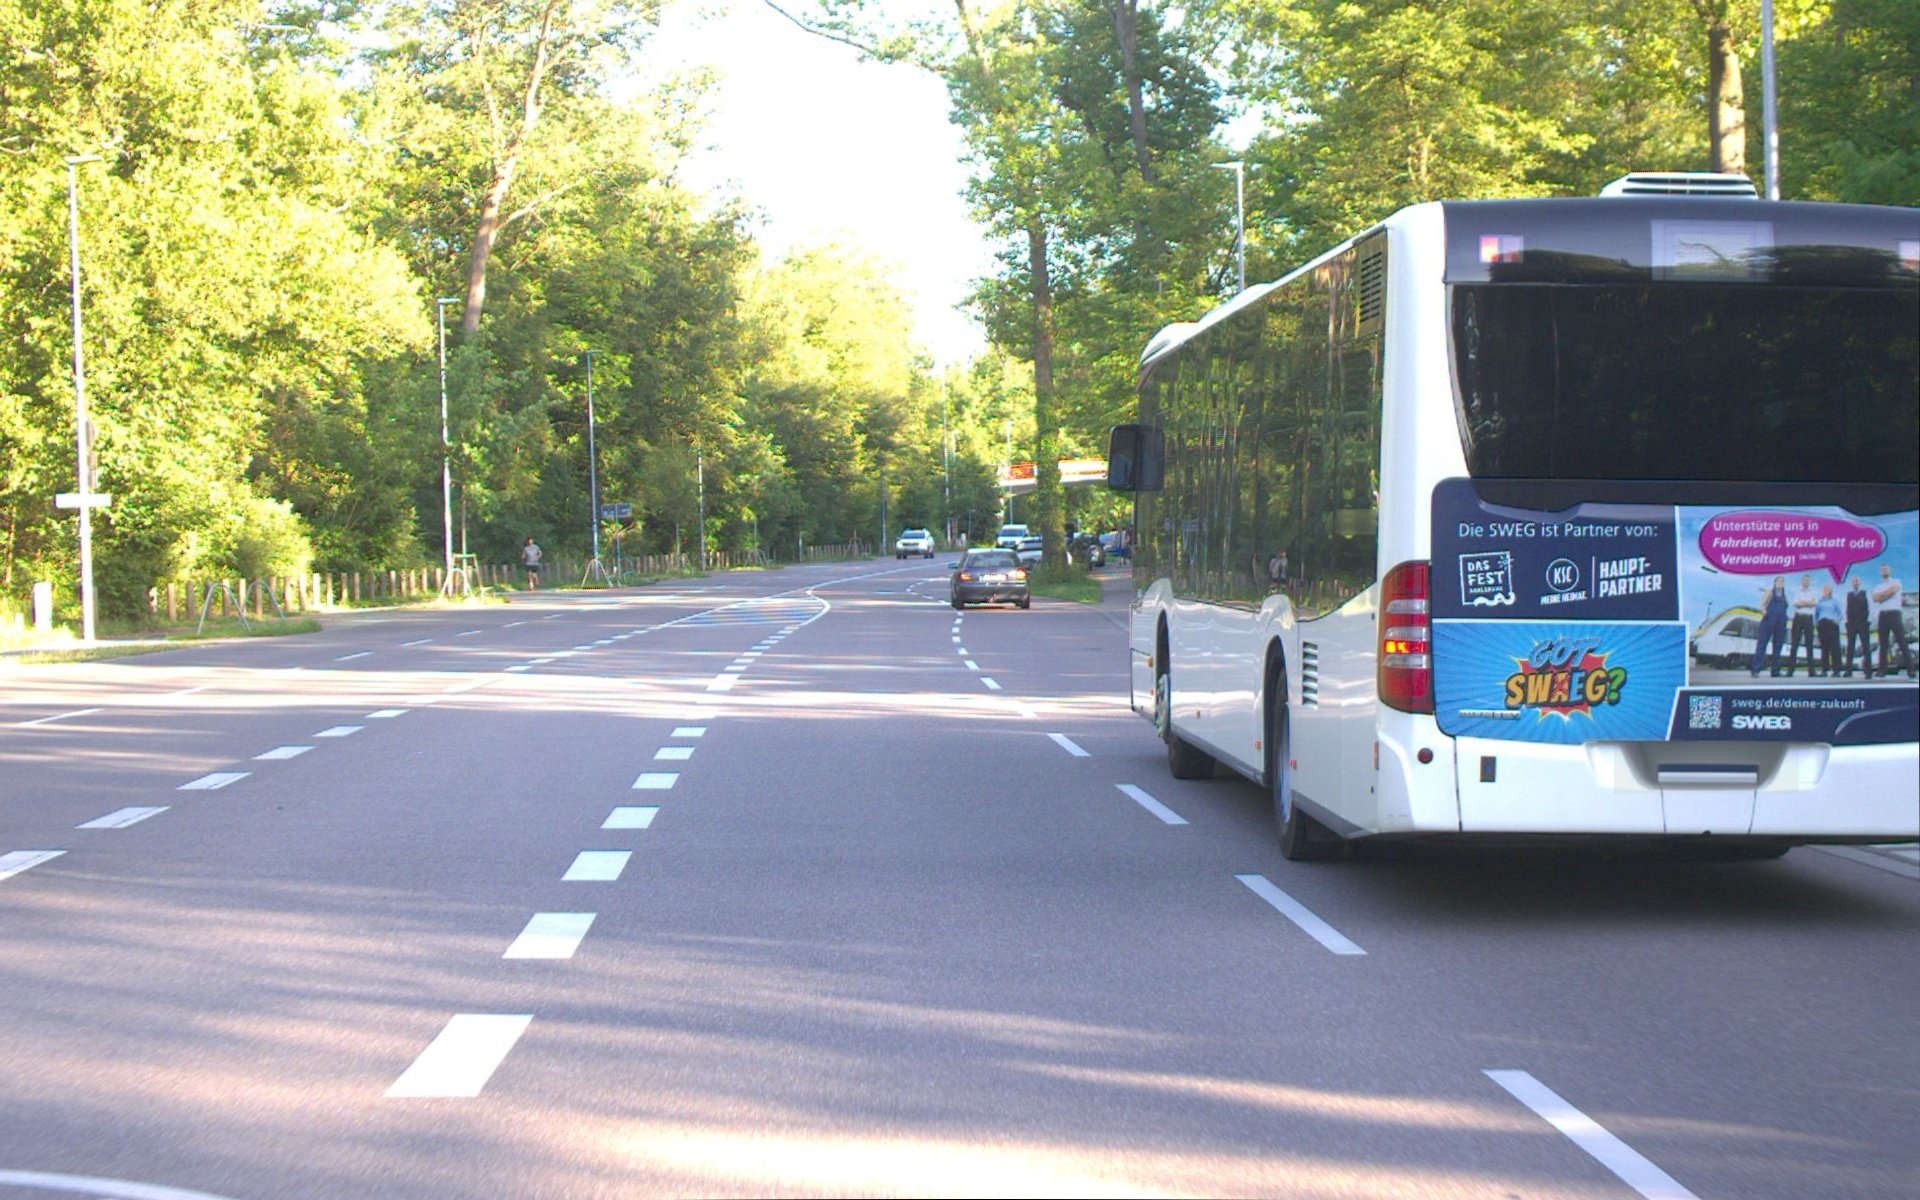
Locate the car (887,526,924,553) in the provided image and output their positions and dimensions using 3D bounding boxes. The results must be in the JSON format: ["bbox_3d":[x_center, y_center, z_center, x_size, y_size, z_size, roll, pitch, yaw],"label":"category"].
[{"bbox_3d":[-3.083,-3.422,194.806,1.863,1.532,4.131,0,1,3],"label":"car"}]

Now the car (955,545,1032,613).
[{"bbox_3d":[0.803,-0.498,79.918,1.632,1.542,4.131,0,1,3],"label":"car"}]

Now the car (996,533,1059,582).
[{"bbox_3d":[2.321,-1.448,117.567,1.632,1.653,4.130,0,1,8],"label":"car"}]

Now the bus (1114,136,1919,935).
[{"bbox_3d":[2.637,-0.302,19.124,2.689,3.032,12.042,0,1,-1],"label":"bus"}]

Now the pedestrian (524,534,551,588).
[{"bbox_3d":[-14.012,-1.297,114.011,0.779,1.806,0.770,0,1,-1],"label":"pedestrian"}]
